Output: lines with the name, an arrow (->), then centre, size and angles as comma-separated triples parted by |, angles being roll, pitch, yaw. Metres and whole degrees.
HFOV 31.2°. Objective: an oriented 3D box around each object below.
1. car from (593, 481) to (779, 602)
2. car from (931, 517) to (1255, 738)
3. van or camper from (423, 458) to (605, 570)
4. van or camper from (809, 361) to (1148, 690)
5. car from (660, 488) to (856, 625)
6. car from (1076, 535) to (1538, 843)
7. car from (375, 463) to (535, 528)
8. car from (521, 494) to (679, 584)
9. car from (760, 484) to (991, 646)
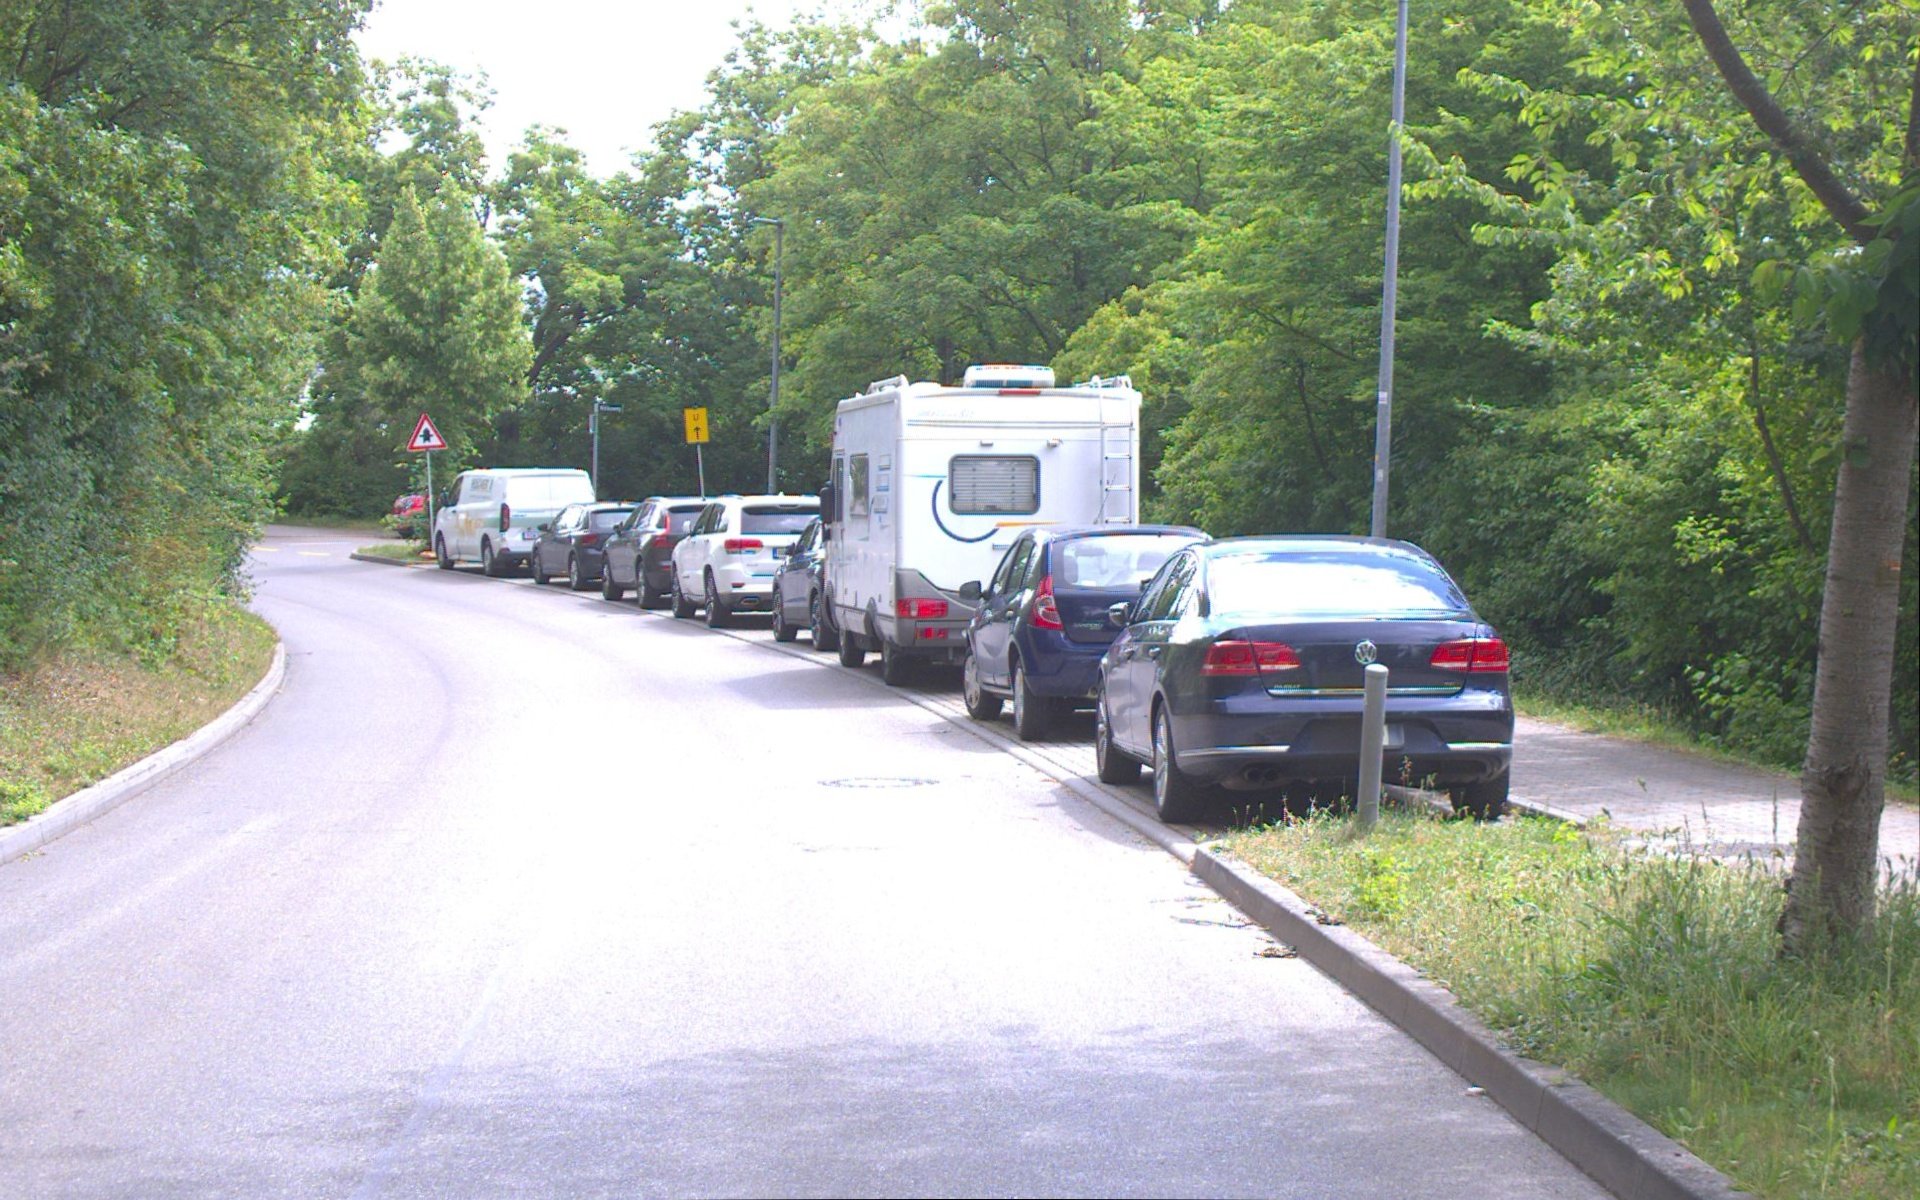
car -> -4.213, -0.928, 52.236 | 1.993, 1.620, 4.280 | -3, 3, -15
car -> 0.918, 0.173, 25.910 | 1.728, 1.514, 3.890 | -1, 1, -8
van or camper -> -8.396, -1.652, 64.274 | 1.993, 1.913, 5.268 | -2, 3, -23
van or camper -> 0.033, -0.742, 33.462 | 2.332, 2.859, 6.152 | 1, 2, -8
car -> -2.790, -0.630, 46.518 | 1.871, 1.683, 4.581 | 1, 2, -13
car -> 1.753, 0.385, 18.733 | 1.775, 1.429, 4.334 | -1, 2, -4
car -> -12.241, -2.543, 83.320 | 3.535, 1.475, 1.783 | -1, 4, -20
car -> -6.190, -1.068, 58.776 | 1.797, 1.459, 4.002 | 0, 2, -20
car -> -1.028, -0.443, 39.540 | 1.710, 1.586, 4.001 | -7, 3, -13
